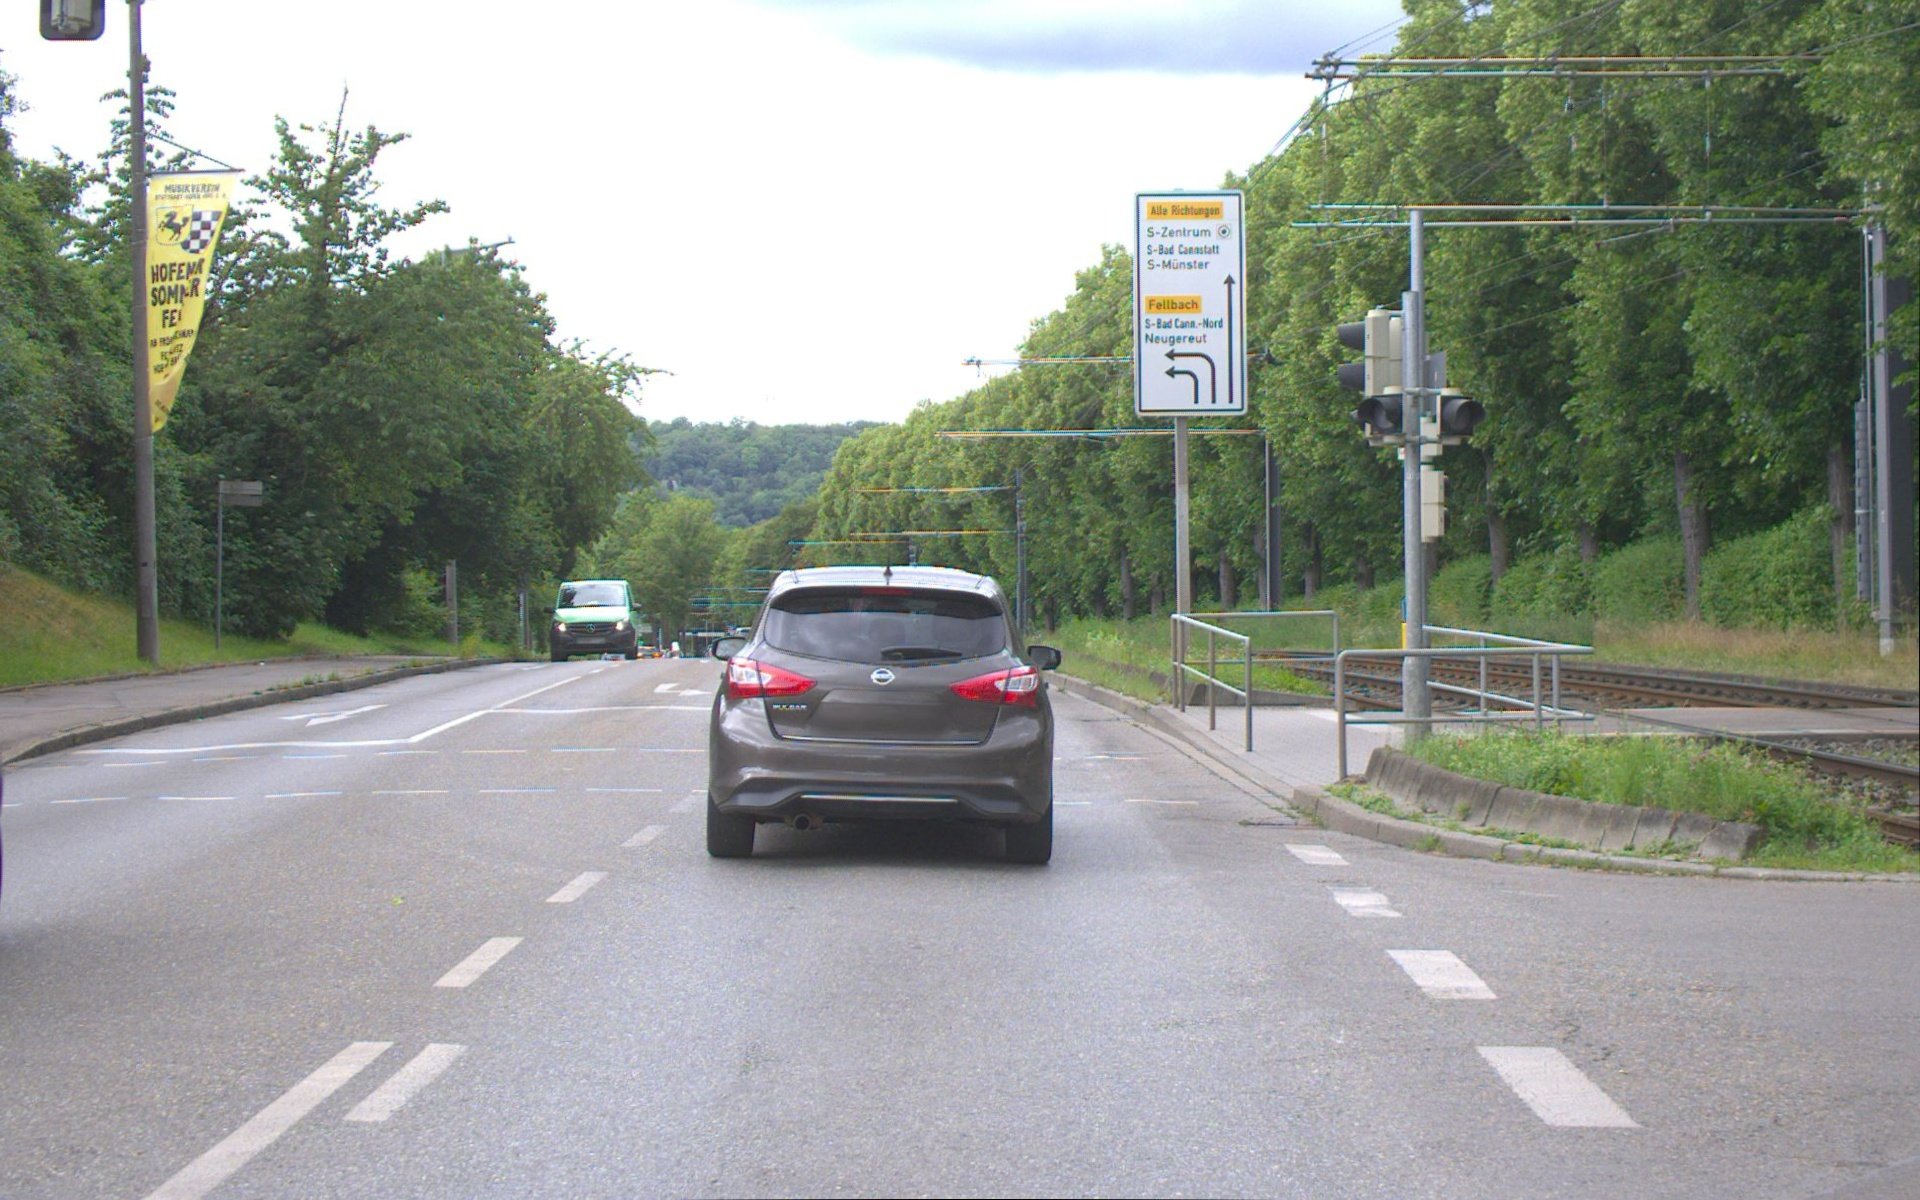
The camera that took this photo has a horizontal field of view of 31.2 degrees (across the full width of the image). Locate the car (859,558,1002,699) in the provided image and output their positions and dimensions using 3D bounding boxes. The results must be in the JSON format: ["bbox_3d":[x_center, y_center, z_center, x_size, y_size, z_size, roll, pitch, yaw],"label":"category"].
[{"bbox_3d":[-0.331,0.279,38.764,1.538,1.473,3.764,0,1,-1],"label":"car"}]

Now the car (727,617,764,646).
[{"bbox_3d":[-10.841,1.589,173.993,1.741,1.305,4.001,2,1,-2],"label":"car"}]

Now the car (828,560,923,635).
[{"bbox_3d":[-1.605,-0.073,66.243,1.741,1.305,4.000,2,1,-1],"label":"car"}]

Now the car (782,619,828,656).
[{"bbox_3d":[-6.163,1.471,136.651,1.741,1.305,4.001,2,1,-2],"label":"car"}]

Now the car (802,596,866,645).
[{"bbox_3d":[-3.762,0.590,102.063,1.741,1.305,4.001,2,1,-4],"label":"car"}]

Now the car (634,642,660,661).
[{"bbox_3d":[-23.801,3.917,261.272,1.741,1.305,4.001,2,1,-2],"label":"car"}]

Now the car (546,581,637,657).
[{"bbox_3d":[-8.407,0.425,78.711,1.785,1.690,4.000,0,0,-2],"label":"car"}]

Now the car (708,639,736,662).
[{"bbox_3d":[-15.619,3.308,225.703,1.741,1.305,4.001,2,1,-2],"label":"car"}]

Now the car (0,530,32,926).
[{"bbox_3d":[-4.649,0.482,11.747,1.901,1.568,4.483,1,0,-3],"label":"car"}]

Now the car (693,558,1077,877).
[{"bbox_3d":[-0.386,0.573,18.996,1.835,1.514,4.483,1,0,-1],"label":"car"}]

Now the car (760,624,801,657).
[{"bbox_3d":[-7.982,1.784,153.404,1.741,1.305,4.001,2,1,-2],"label":"car"}]
